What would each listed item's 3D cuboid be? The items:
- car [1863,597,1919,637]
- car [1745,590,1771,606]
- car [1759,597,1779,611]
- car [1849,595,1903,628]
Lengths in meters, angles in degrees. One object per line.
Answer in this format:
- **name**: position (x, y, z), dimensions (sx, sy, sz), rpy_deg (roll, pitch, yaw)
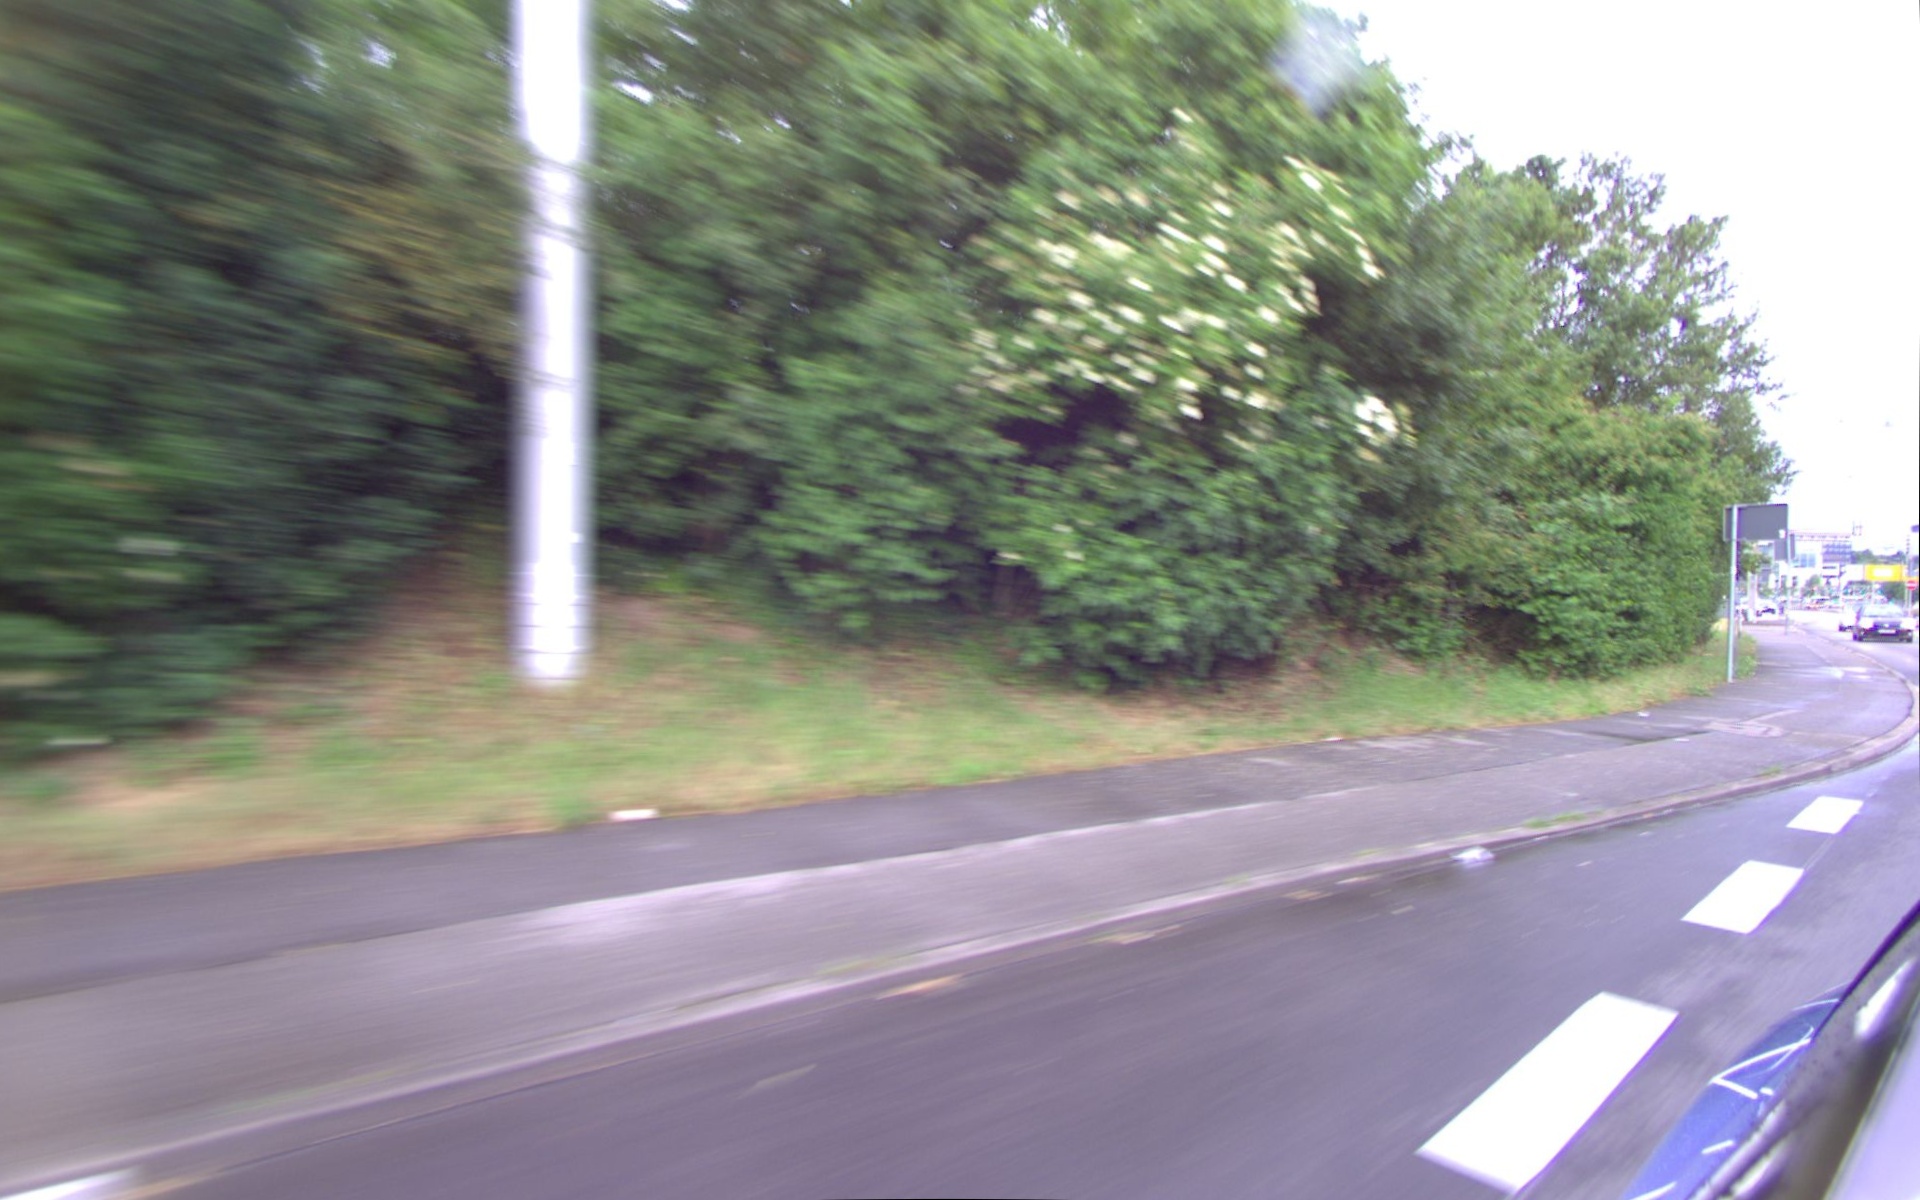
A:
- **car**: position (37.739, 0.649, 40.897), dimensions (1.774, 1.520, 3.940), rpy_deg (0, 0, 41)
- **car**: position (78.333, -0.221, 99.347), dimensions (1.984, 1.559, 4.053), rpy_deg (0, 0, 38)
- **car**: position (91.236, 0.447, 114.134), dimensions (1.694, 1.456, 3.911), rpy_deg (0, 0, 38)
- **car**: position (47.656, 0.573, 52.666), dimensions (1.992, 1.592, 3.939), rpy_deg (-2, 0, 42)
